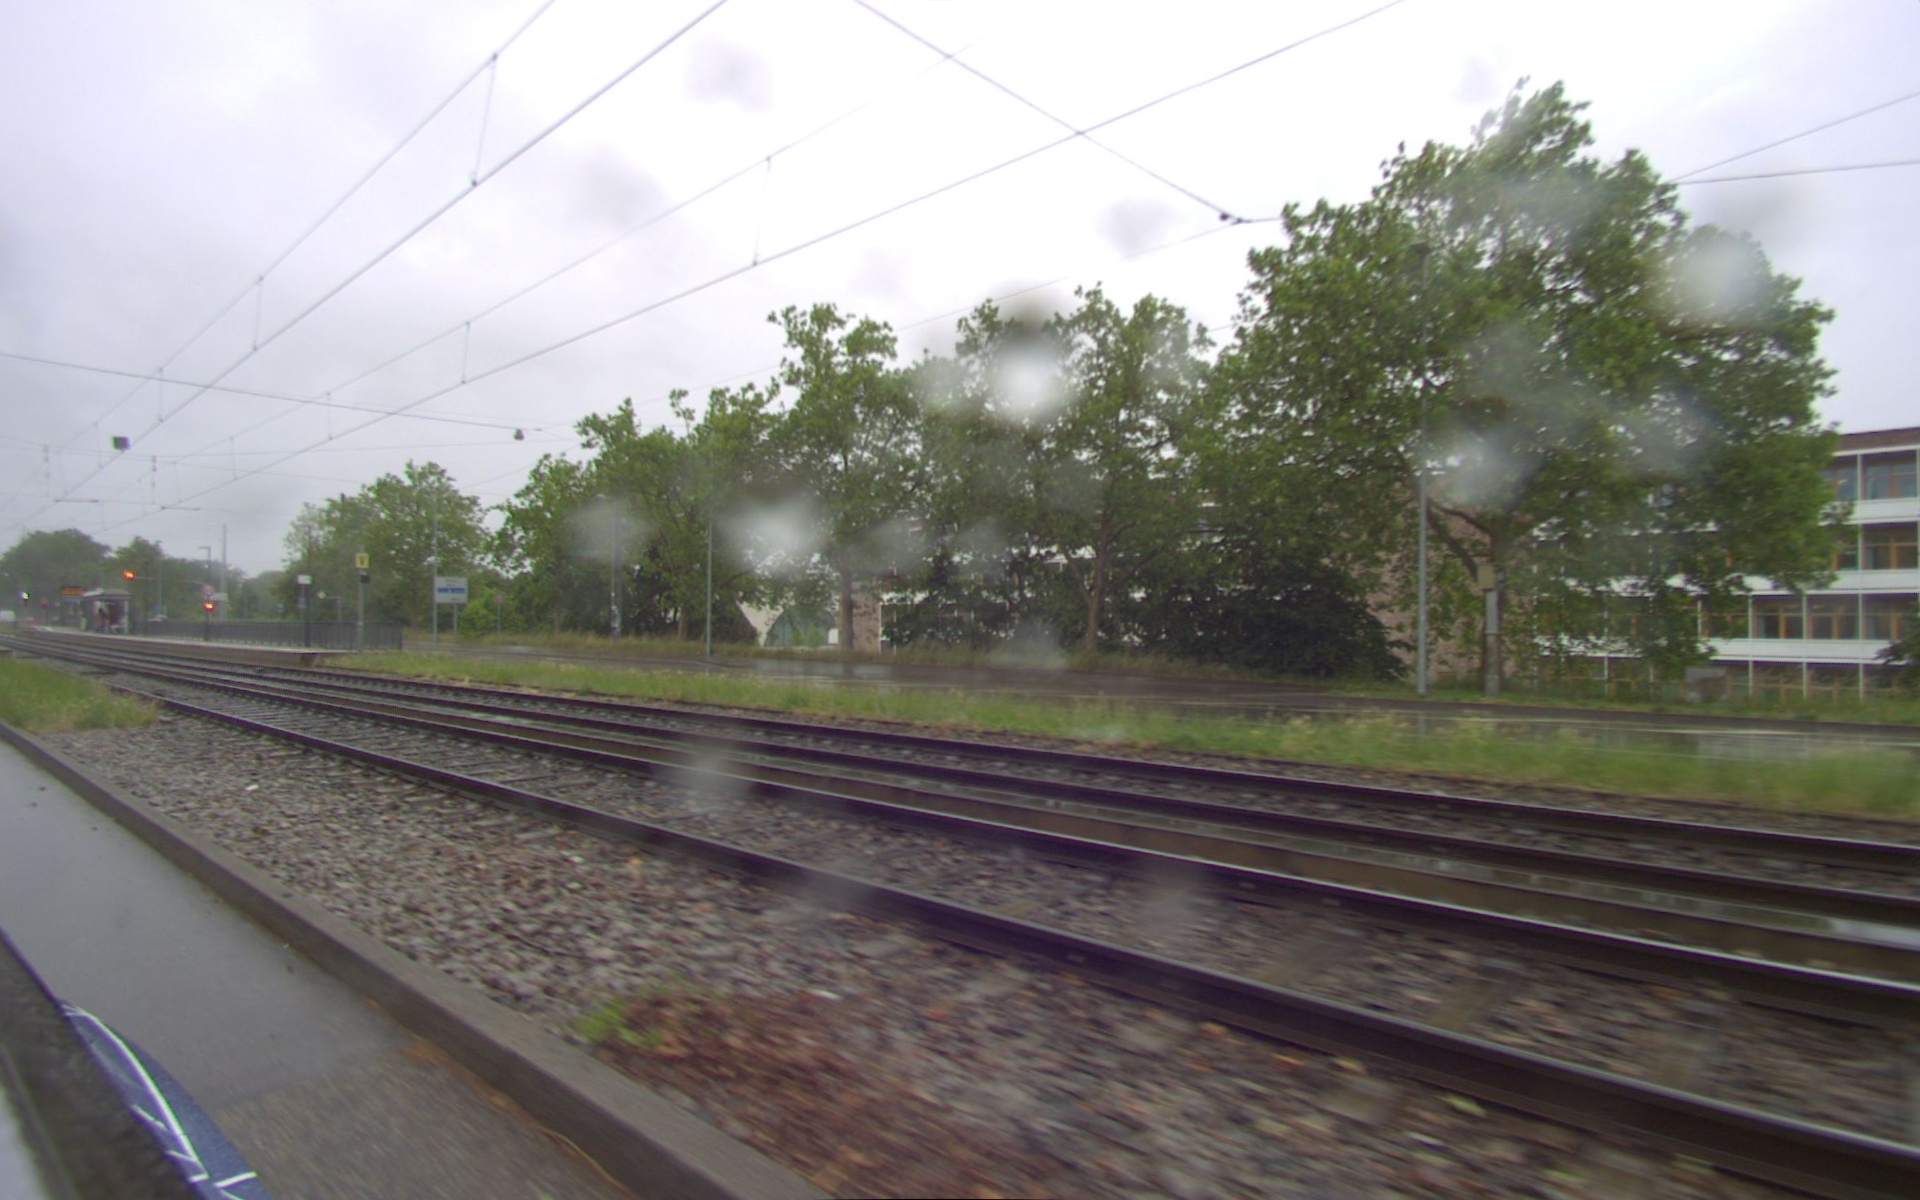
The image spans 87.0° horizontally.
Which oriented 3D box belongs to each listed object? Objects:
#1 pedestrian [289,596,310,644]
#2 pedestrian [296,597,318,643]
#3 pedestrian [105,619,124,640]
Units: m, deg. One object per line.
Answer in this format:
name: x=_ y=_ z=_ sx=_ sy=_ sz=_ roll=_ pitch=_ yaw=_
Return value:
pedestrian: x=-56.664 y=1.733 z=86.839 sx=1.152 sy=4.059 sz=1.524 roll=0 pitch=-1 yaw=-19
pedestrian: x=-57.942 y=1.752 z=89.820 sx=1.514 sy=4.059 sz=1.160 roll=0 pitch=-1 yaw=32
pedestrian: x=-56.024 y=1.947 z=67.067 sx=0.858 sy=1.326 sz=0.822 roll=-1 pitch=0 yaw=43
